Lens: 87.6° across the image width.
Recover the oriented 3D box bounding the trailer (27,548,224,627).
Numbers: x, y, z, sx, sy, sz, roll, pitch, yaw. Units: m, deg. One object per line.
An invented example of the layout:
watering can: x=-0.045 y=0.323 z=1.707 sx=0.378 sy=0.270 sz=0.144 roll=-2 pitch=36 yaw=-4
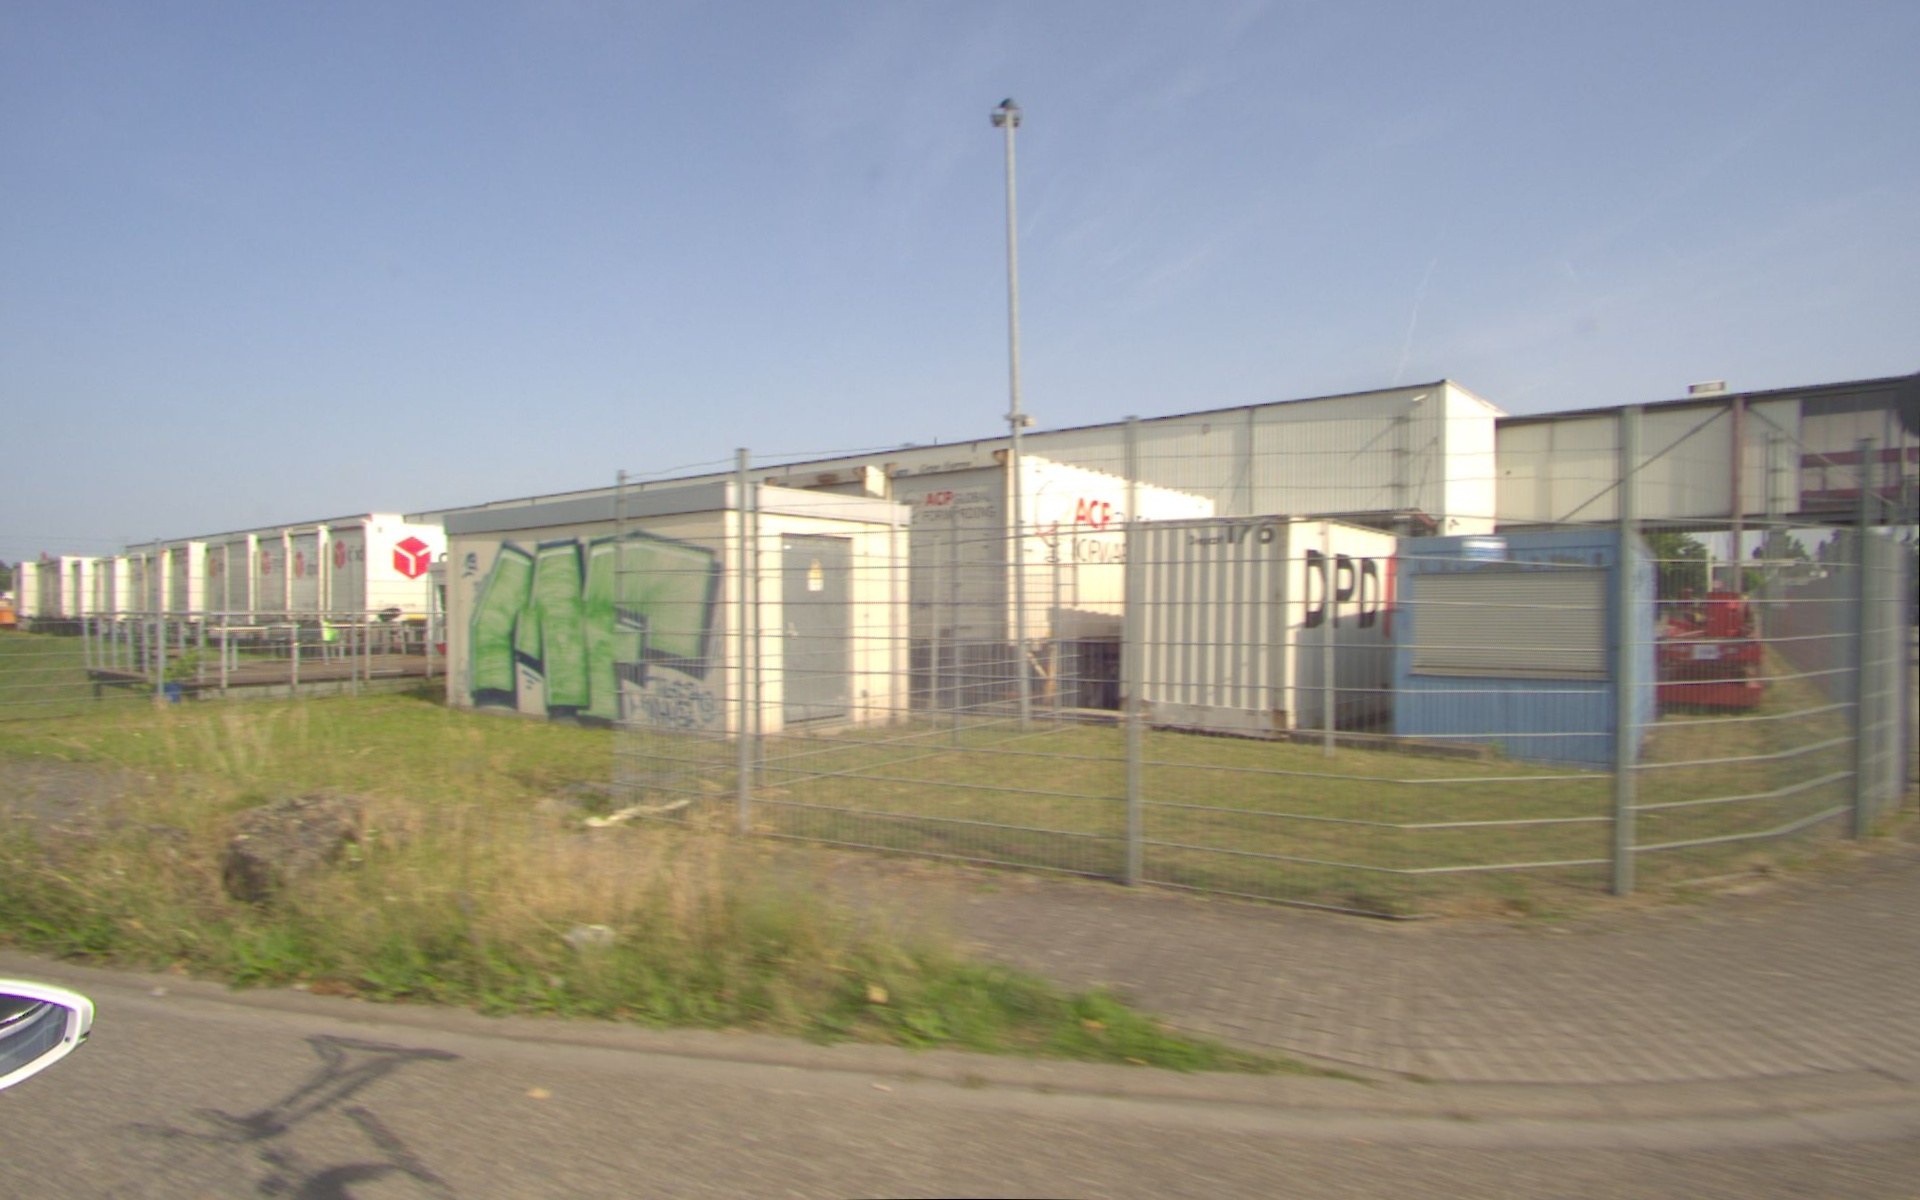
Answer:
trailer: x=-46.430 y=-0.598 z=55.985 sx=2.706 sy=3.943 sz=7.942 roll=2 pitch=-1 yaw=36

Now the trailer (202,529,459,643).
trailer: x=-24.369 y=-0.360 z=39.271 sx=2.739 sy=3.943 sz=8.012 roll=2 pitch=-1 yaw=36

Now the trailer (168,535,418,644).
trailer: x=-26.893 y=-0.270 z=40.810 sx=2.739 sy=3.943 sz=7.942 roll=2 pitch=-1 yaw=36

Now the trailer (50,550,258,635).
trailer: x=-41.801 y=-0.268 z=52.268 sx=2.739 sy=3.943 sz=7.942 roll=2 pitch=-1 yaw=36

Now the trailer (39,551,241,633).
trailer: x=-44.065 y=-0.308 z=54.083 sx=2.739 sy=3.943 sz=7.942 roll=2 pitch=-1 yaw=36

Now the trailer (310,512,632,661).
trailer: x=-14.578 y=-0.191 z=30.733 sx=2.739 sy=3.943 sz=8.513 roll=2 pitch=-1 yaw=36

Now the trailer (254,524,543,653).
trailer: x=-19.101 y=-0.197 z=34.739 sx=2.739 sy=3.943 sz=8.285 roll=2 pitch=-1 yaw=36

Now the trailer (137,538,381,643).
trailer: x=-29.405 y=-0.263 z=42.421 sx=2.739 sy=3.943 sz=7.942 roll=2 pitch=-1 yaw=36

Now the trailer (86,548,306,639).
trailer: x=-36.682 y=-0.197 z=48.426 sx=2.739 sy=3.943 sz=7.942 roll=2 pitch=-1 yaw=36

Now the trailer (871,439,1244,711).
trailer: x=2.279 y=-0.256 z=18.732 sx=2.742 sy=3.943 sz=8.503 roll=-2 pitch=-2 yaw=38

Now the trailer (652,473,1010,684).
trailer: x=-2.423 y=-0.287 z=22.497 sx=2.754 sy=3.809 sz=8.705 roll=0 pitch=-1 yaw=36

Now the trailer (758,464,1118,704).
trailer: x=0.005 y=-0.262 z=20.673 sx=2.740 sy=3.946 sz=8.503 roll=1 pitch=1 yaw=38

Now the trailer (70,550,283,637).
trailer: x=-39.294 y=-0.215 z=50.563 sx=2.739 sy=3.943 sz=7.942 roll=2 pitch=-1 yaw=36

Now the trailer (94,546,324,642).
trailer: x=-34.324 y=-0.138 z=46.145 sx=2.739 sy=3.943 sz=7.942 roll=2 pitch=-1 yaw=36

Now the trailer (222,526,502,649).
trailer: x=-21.502 y=-0.256 z=36.576 sx=2.739 sy=3.943 sz=8.285 roll=2 pitch=-1 yaw=36

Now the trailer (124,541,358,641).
trailer: x=-31.744 y=-0.255 z=44.592 sx=2.739 sy=3.943 sz=7.942 roll=2 pitch=-1 yaw=36

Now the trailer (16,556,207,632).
trailer: x=-48.787 y=-0.242 z=57.840 sx=2.706 sy=3.943 sz=7.942 roll=2 pitch=-1 yaw=36

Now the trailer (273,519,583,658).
trailer: x=-16.946 y=-0.168 z=32.658 sx=2.739 sy=3.943 sz=8.513 roll=2 pitch=-1 yaw=36
